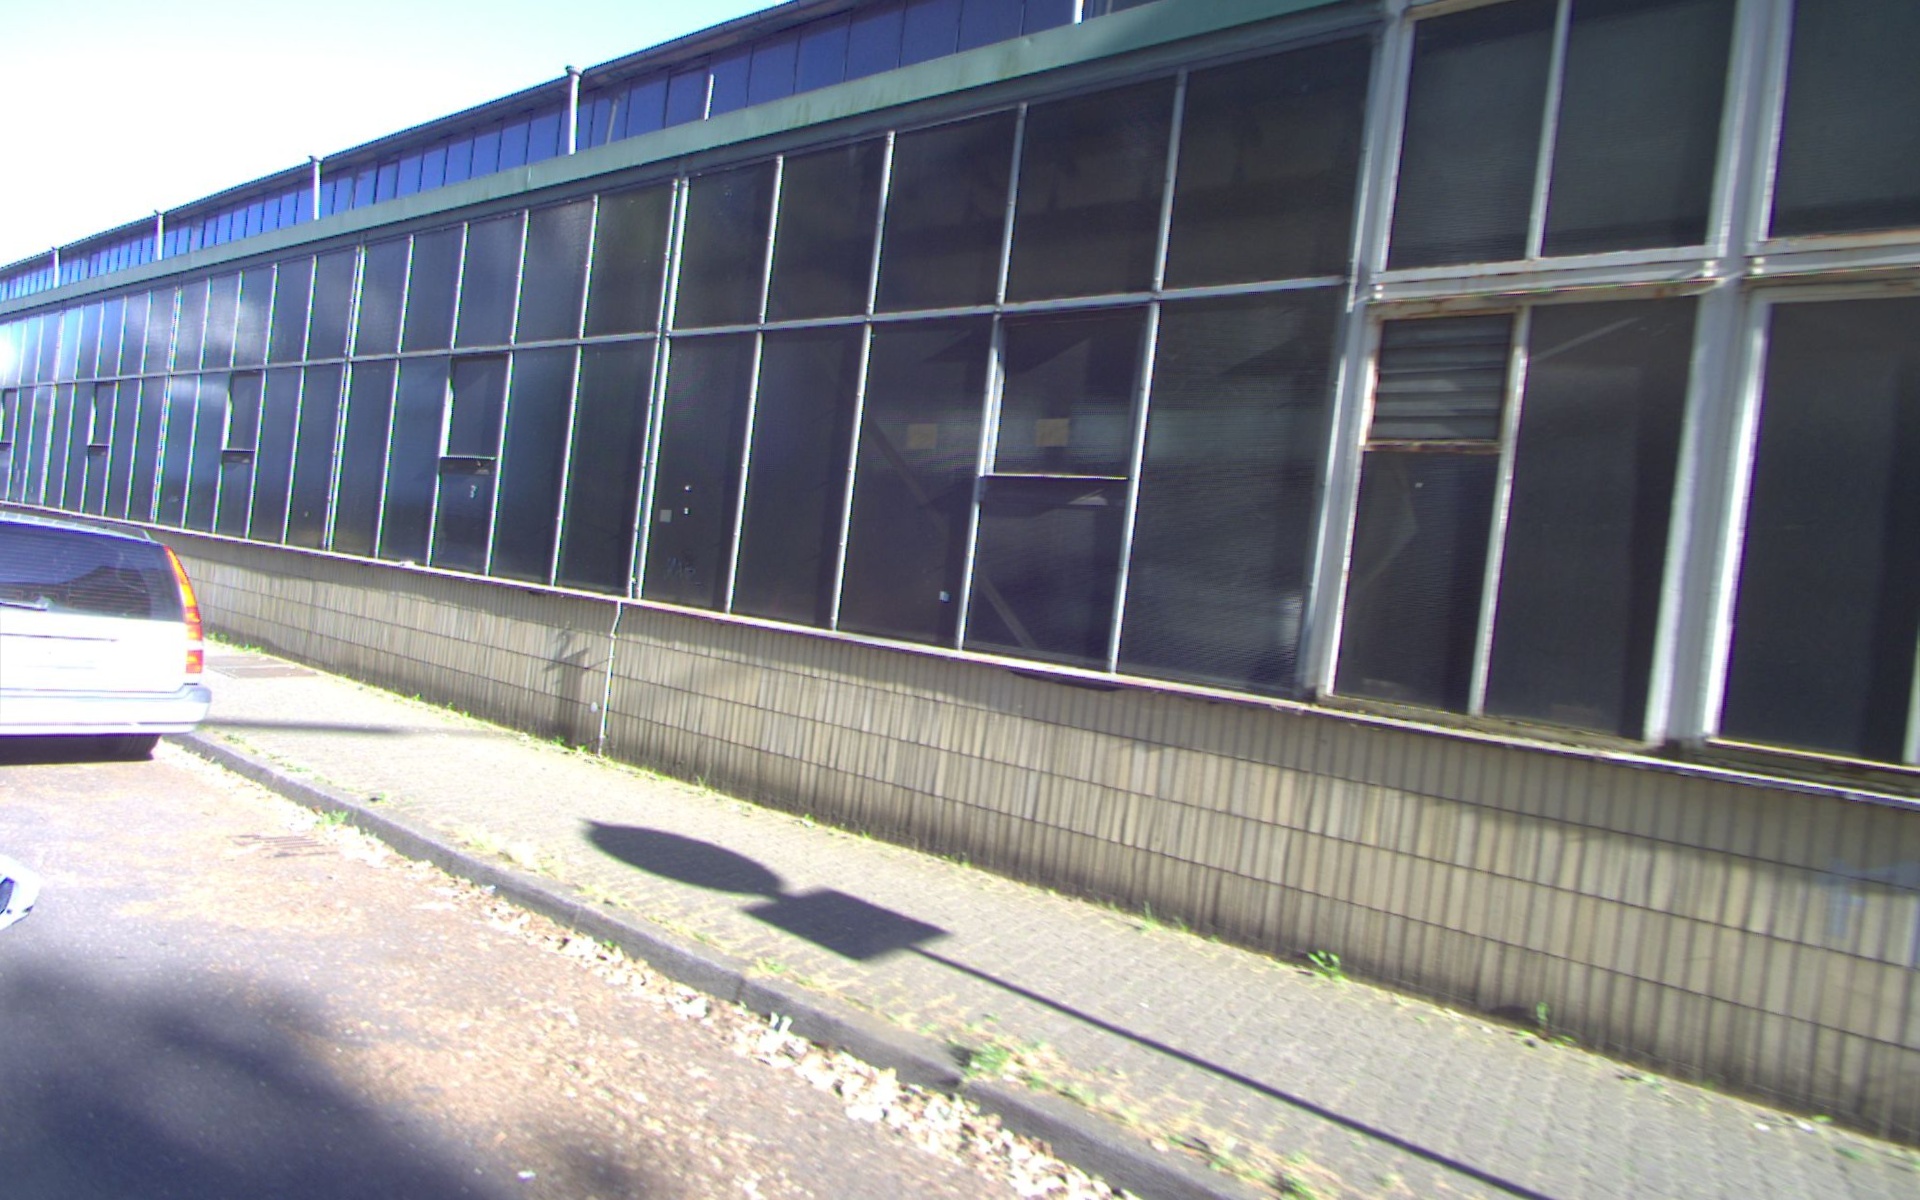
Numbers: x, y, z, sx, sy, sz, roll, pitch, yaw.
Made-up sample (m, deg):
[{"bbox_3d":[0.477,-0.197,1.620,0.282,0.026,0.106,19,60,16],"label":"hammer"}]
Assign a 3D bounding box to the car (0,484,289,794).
[{"bbox_3d":[-6.414,0.037,6.332,4.455,1.510,1.904,6,-3,33],"label":"car"}]
